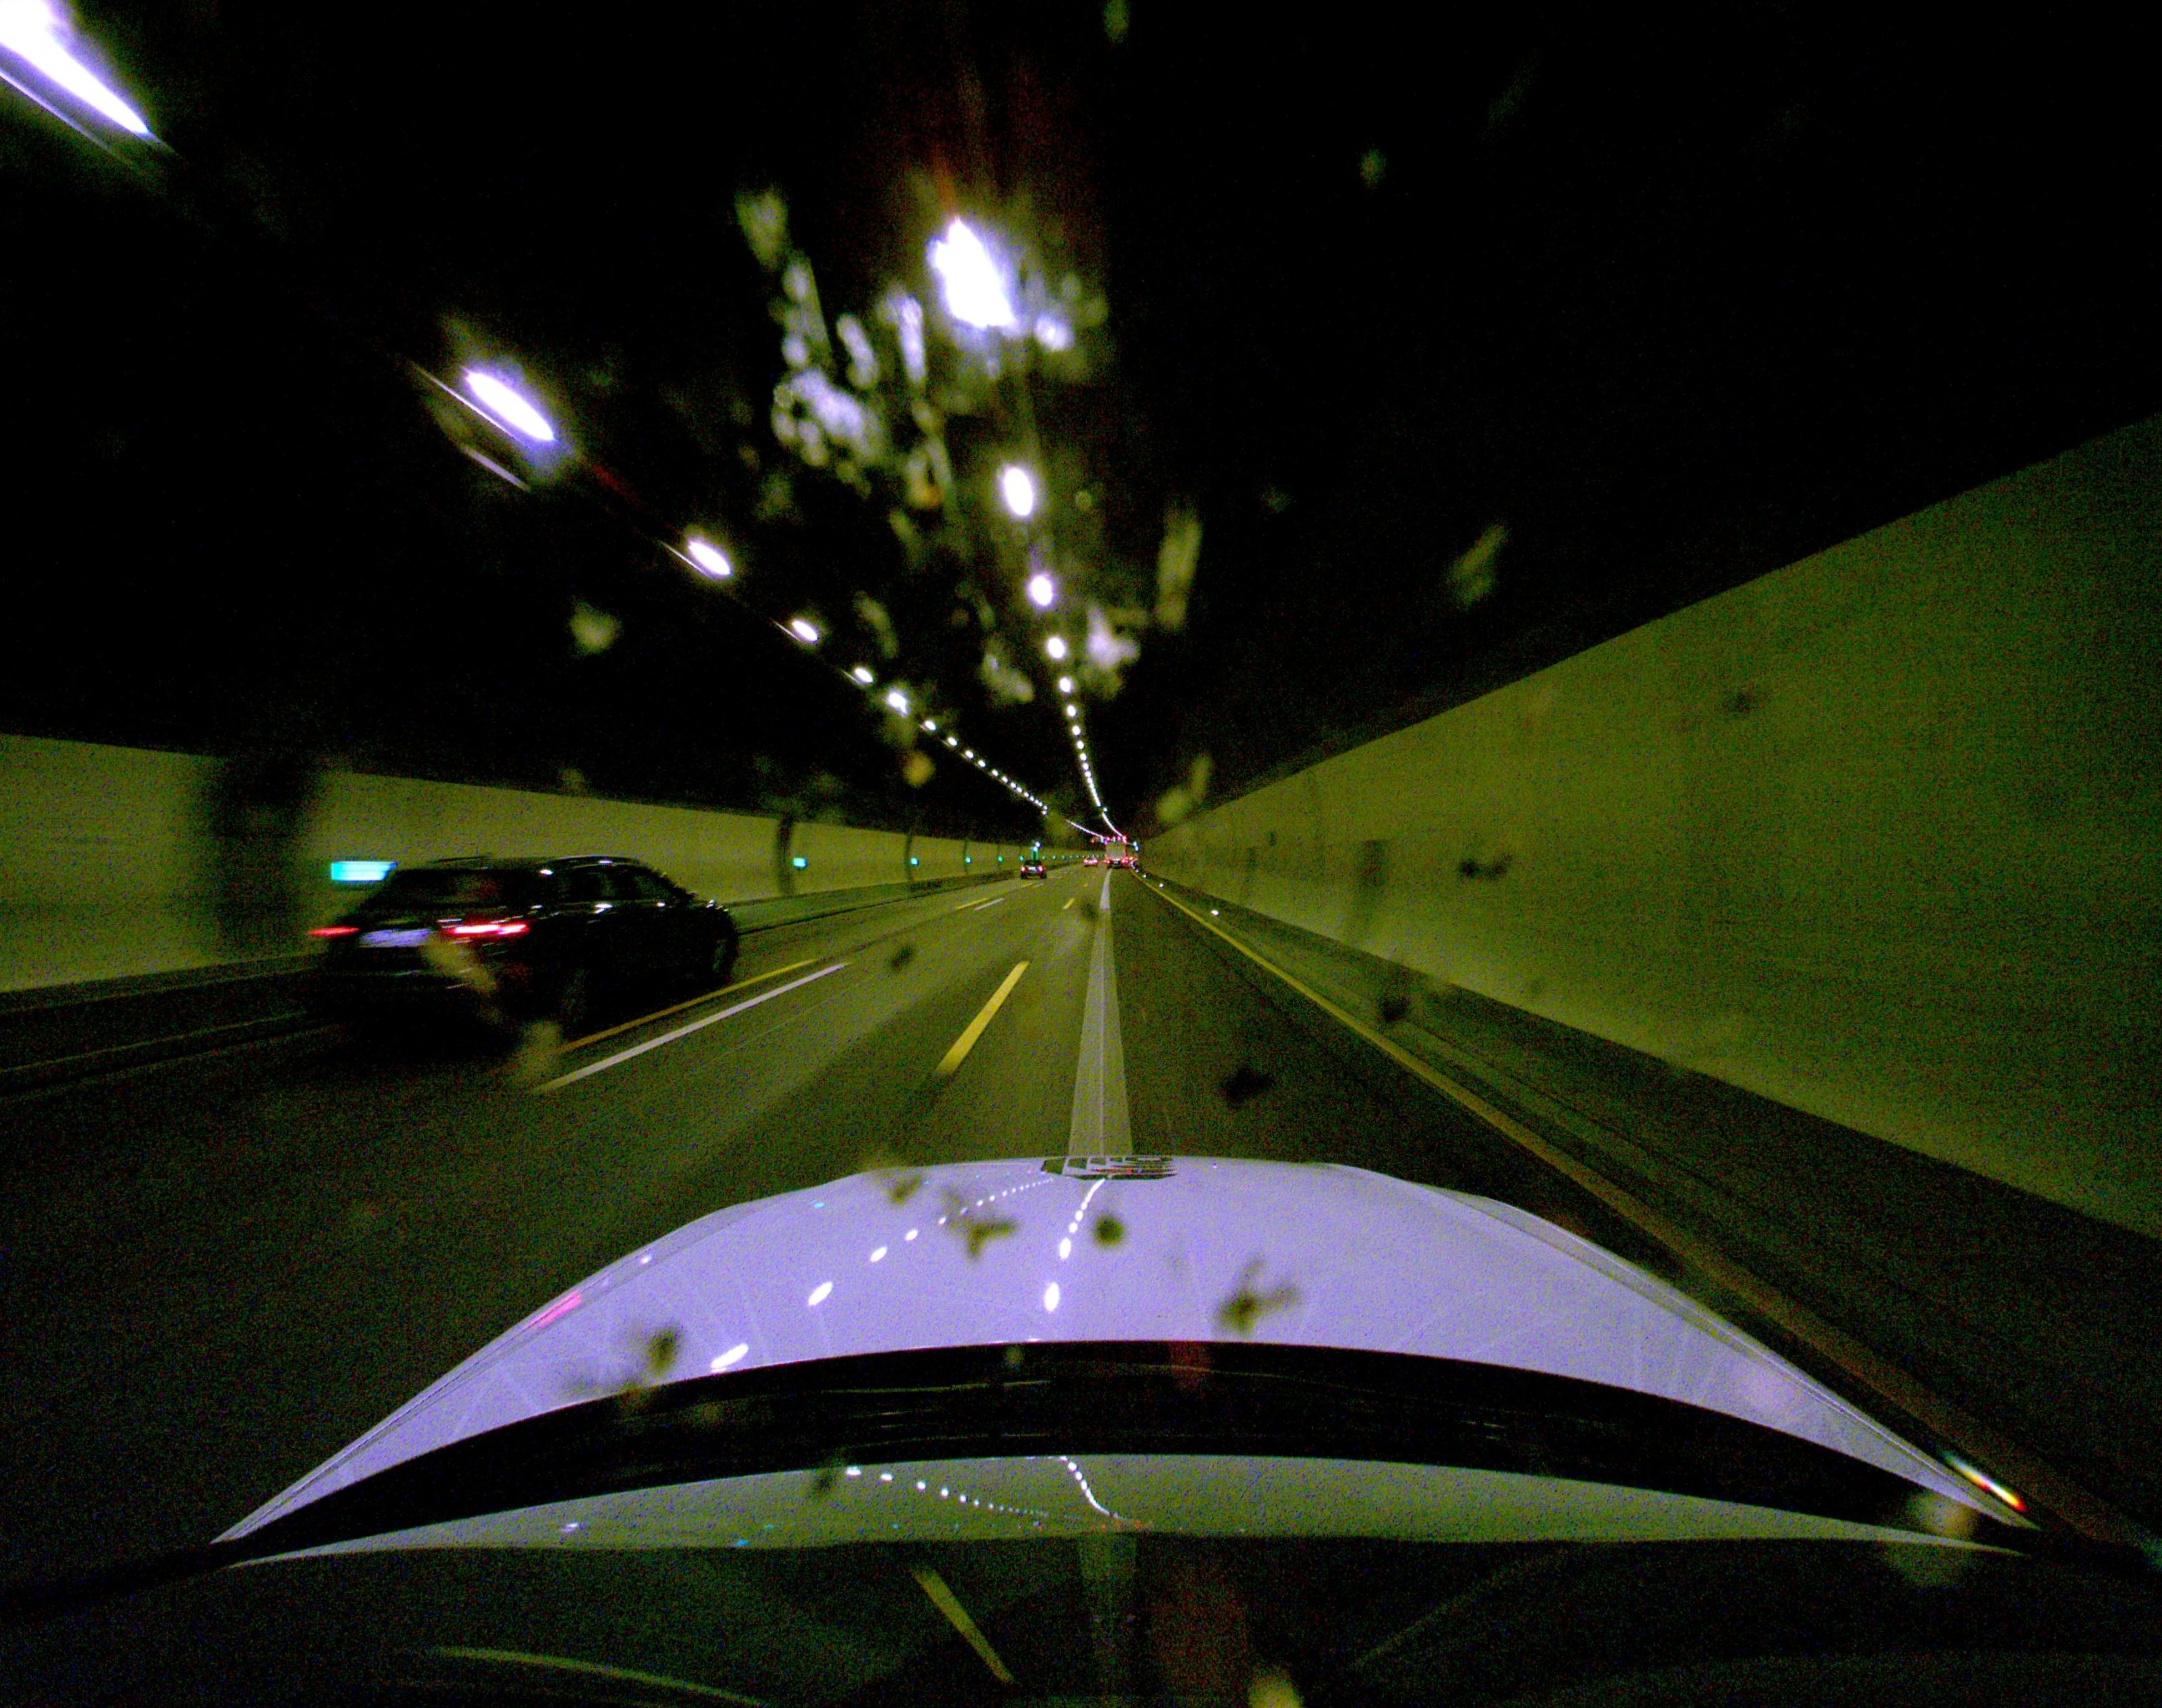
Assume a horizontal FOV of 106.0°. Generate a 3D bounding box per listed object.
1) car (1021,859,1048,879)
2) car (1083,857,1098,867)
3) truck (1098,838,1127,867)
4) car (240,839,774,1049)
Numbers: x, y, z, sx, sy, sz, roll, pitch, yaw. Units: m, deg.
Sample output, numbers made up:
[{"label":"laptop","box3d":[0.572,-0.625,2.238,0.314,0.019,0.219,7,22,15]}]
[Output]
[{"label":"car","box3d":[-3.397,1.081,60.225,1.683,1.417,3.923,0,0,0]},{"label":"car","box3d":[1.398,1.179,116.979,1.986,1.413,4.744,0,0,1]},{"label":"truck","box3d":[4.172,-0.225,107.712,3.579,3.650,10.727,0,0,2]},{"label":"car","box3d":[-5.122,0.685,8.366,1.986,1.540,4.744,0,-1,2]}]
